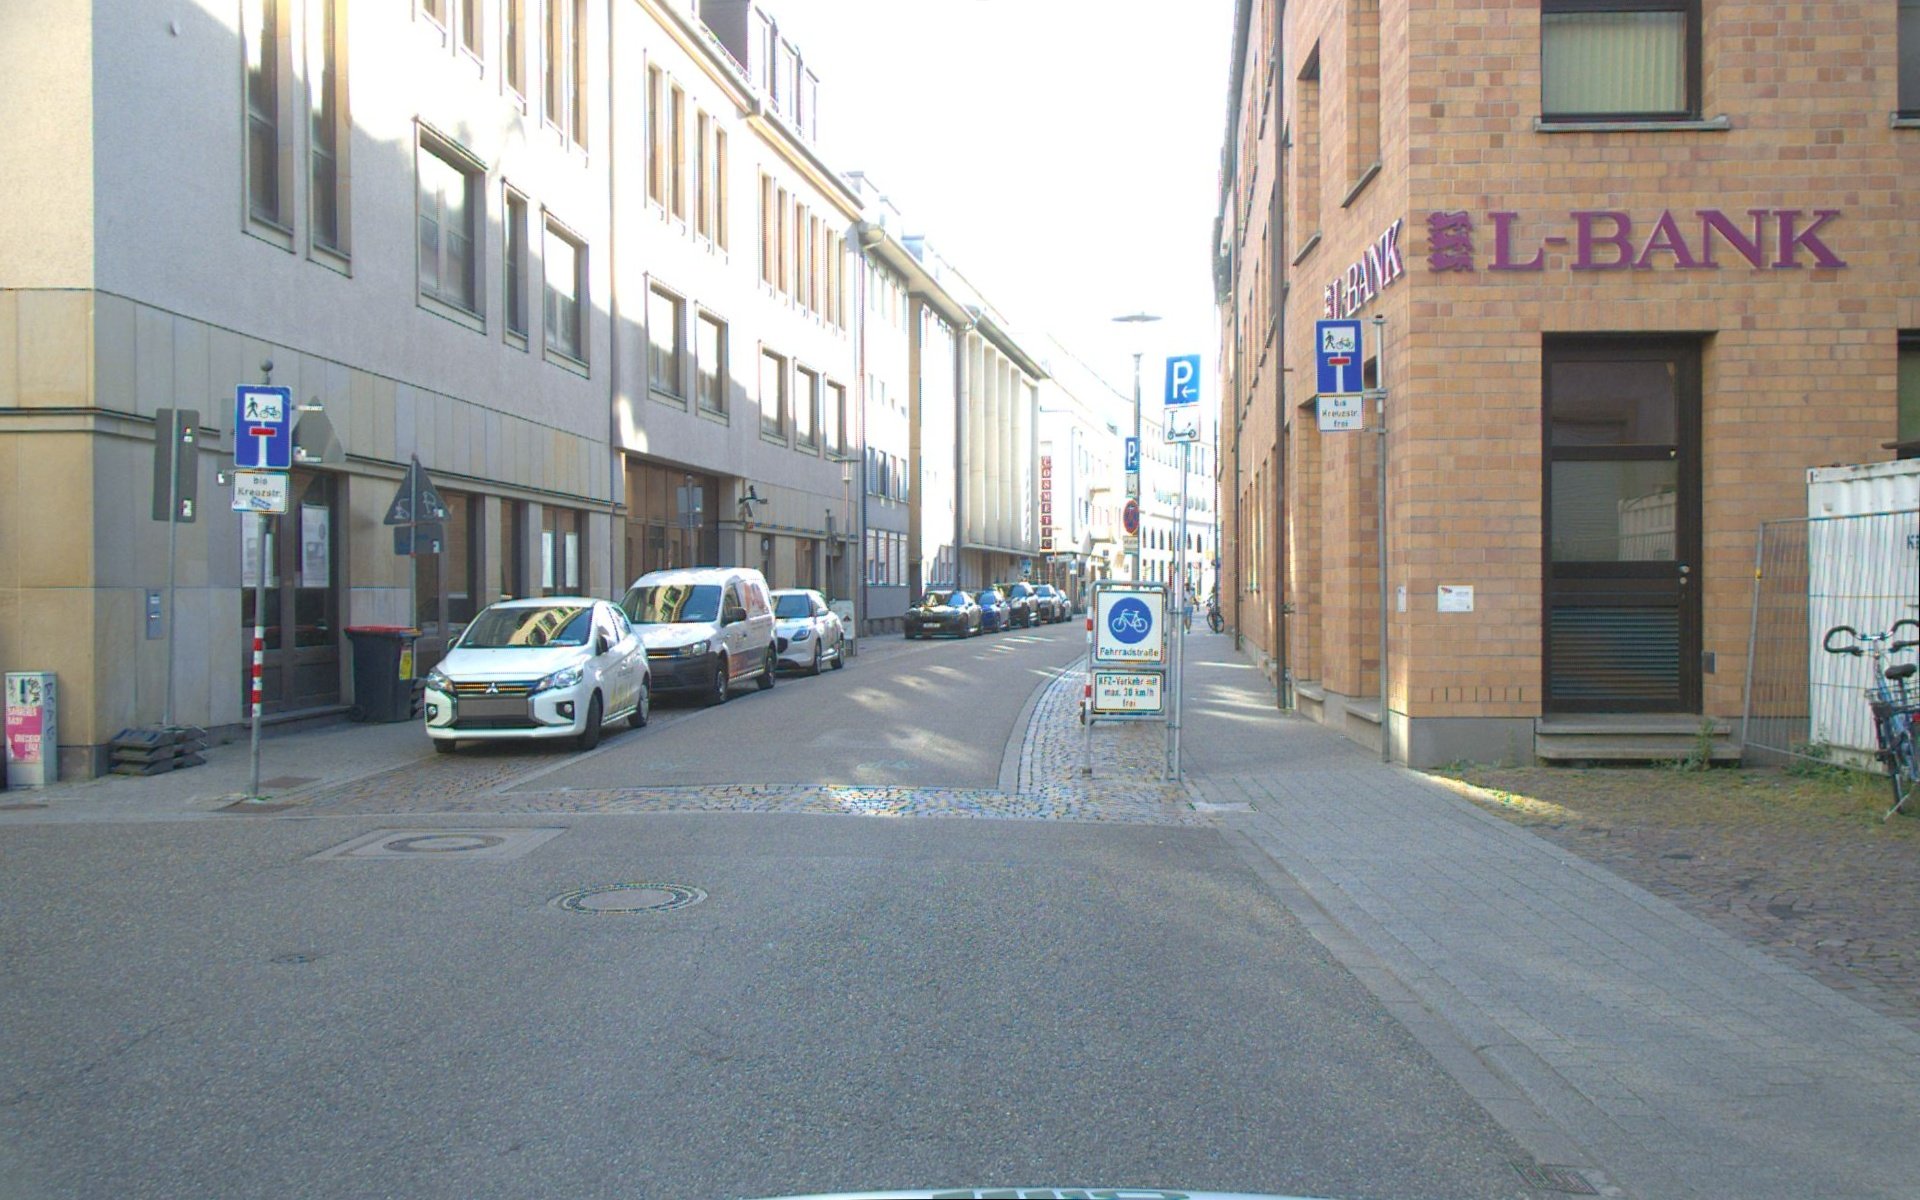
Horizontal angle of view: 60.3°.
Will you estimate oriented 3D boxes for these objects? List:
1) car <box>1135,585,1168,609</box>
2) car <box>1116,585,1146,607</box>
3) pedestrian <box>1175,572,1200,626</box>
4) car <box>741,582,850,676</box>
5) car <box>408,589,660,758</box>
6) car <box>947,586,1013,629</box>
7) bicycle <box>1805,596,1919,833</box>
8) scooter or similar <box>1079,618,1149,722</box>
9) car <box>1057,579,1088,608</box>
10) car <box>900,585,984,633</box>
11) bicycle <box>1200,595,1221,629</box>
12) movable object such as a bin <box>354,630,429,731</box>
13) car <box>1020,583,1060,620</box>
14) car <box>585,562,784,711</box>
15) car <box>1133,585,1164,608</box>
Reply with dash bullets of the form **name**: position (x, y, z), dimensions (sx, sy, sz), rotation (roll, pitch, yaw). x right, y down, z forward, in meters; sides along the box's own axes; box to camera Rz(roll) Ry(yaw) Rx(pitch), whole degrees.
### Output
- **car**: position (11.586, -0.202, 100.037), dimensions (1.653, 1.394, 3.621), rotation (-1, 0, 11)
- **car**: position (11.575, -0.283, 111.820), dimensions (1.653, 1.394, 3.621), rotation (-1, 0, 11)
- **pedestrian**: position (7.567, -0.028, 55.118), dimensions (0.651, 1.760, 0.839), rotation (2, 0, -1)
- **car**: position (-2.883, 0.473, 29.577), dimensions (1.244, 1.533, 3.404), rotation (-2, 0, 6)
- **car**: position (-4.367, 0.685, 17.505), dimensions (1.636, 1.533, 3.794), rotation (-2, 0, 0)
- **car**: position (0.724, 0.234, 56.622), dimensions (1.687, 1.364, 4.004), rotation (-1, 0, 9)
- **bicycle**: position (5.828, 0.658, 10.294), dimensions (0.538, 1.340, 1.649), rotation (-1, 0, 10)
- **scooter or similar**: position (1.766, 0.804, 19.010), dimensions (0.755, 1.156, 0.269), rotation (2, 0, 2)
- **car**: position (5.935, -0.353, 87.017), dimensions (1.310, 1.520, 3.350), rotation (-1, 0, 9)
- **car**: position (-0.505, 0.245, 50.044), dimensions (1.841, 1.355, 4.104), rotation (-1, 0, 9)
- **bicycle**: position (7.688, 0.365, 50.776), dimensions (0.500, 1.011, 2.650), rotation (0, 0, 6)
- **movable object such as a bin**: position (-6.393, 0.896, 18.627), dimensions (0.596, 1.079, 0.713), rotation (2, 0, -4)
- **car**: position (3.393, 0.042, 69.834), dimensions (1.310, 1.520, 3.513), rotation (-1, 0, 9)
- **car**: position (-3.759, 0.443, 23.379), dimensions (1.635, 1.850, 4.555), rotation (-2, 0, 5)
- **car**: position (12.241, -0.236, 107.369), dimensions (1.653, 1.394, 3.621), rotation (-1, 0, 11)
